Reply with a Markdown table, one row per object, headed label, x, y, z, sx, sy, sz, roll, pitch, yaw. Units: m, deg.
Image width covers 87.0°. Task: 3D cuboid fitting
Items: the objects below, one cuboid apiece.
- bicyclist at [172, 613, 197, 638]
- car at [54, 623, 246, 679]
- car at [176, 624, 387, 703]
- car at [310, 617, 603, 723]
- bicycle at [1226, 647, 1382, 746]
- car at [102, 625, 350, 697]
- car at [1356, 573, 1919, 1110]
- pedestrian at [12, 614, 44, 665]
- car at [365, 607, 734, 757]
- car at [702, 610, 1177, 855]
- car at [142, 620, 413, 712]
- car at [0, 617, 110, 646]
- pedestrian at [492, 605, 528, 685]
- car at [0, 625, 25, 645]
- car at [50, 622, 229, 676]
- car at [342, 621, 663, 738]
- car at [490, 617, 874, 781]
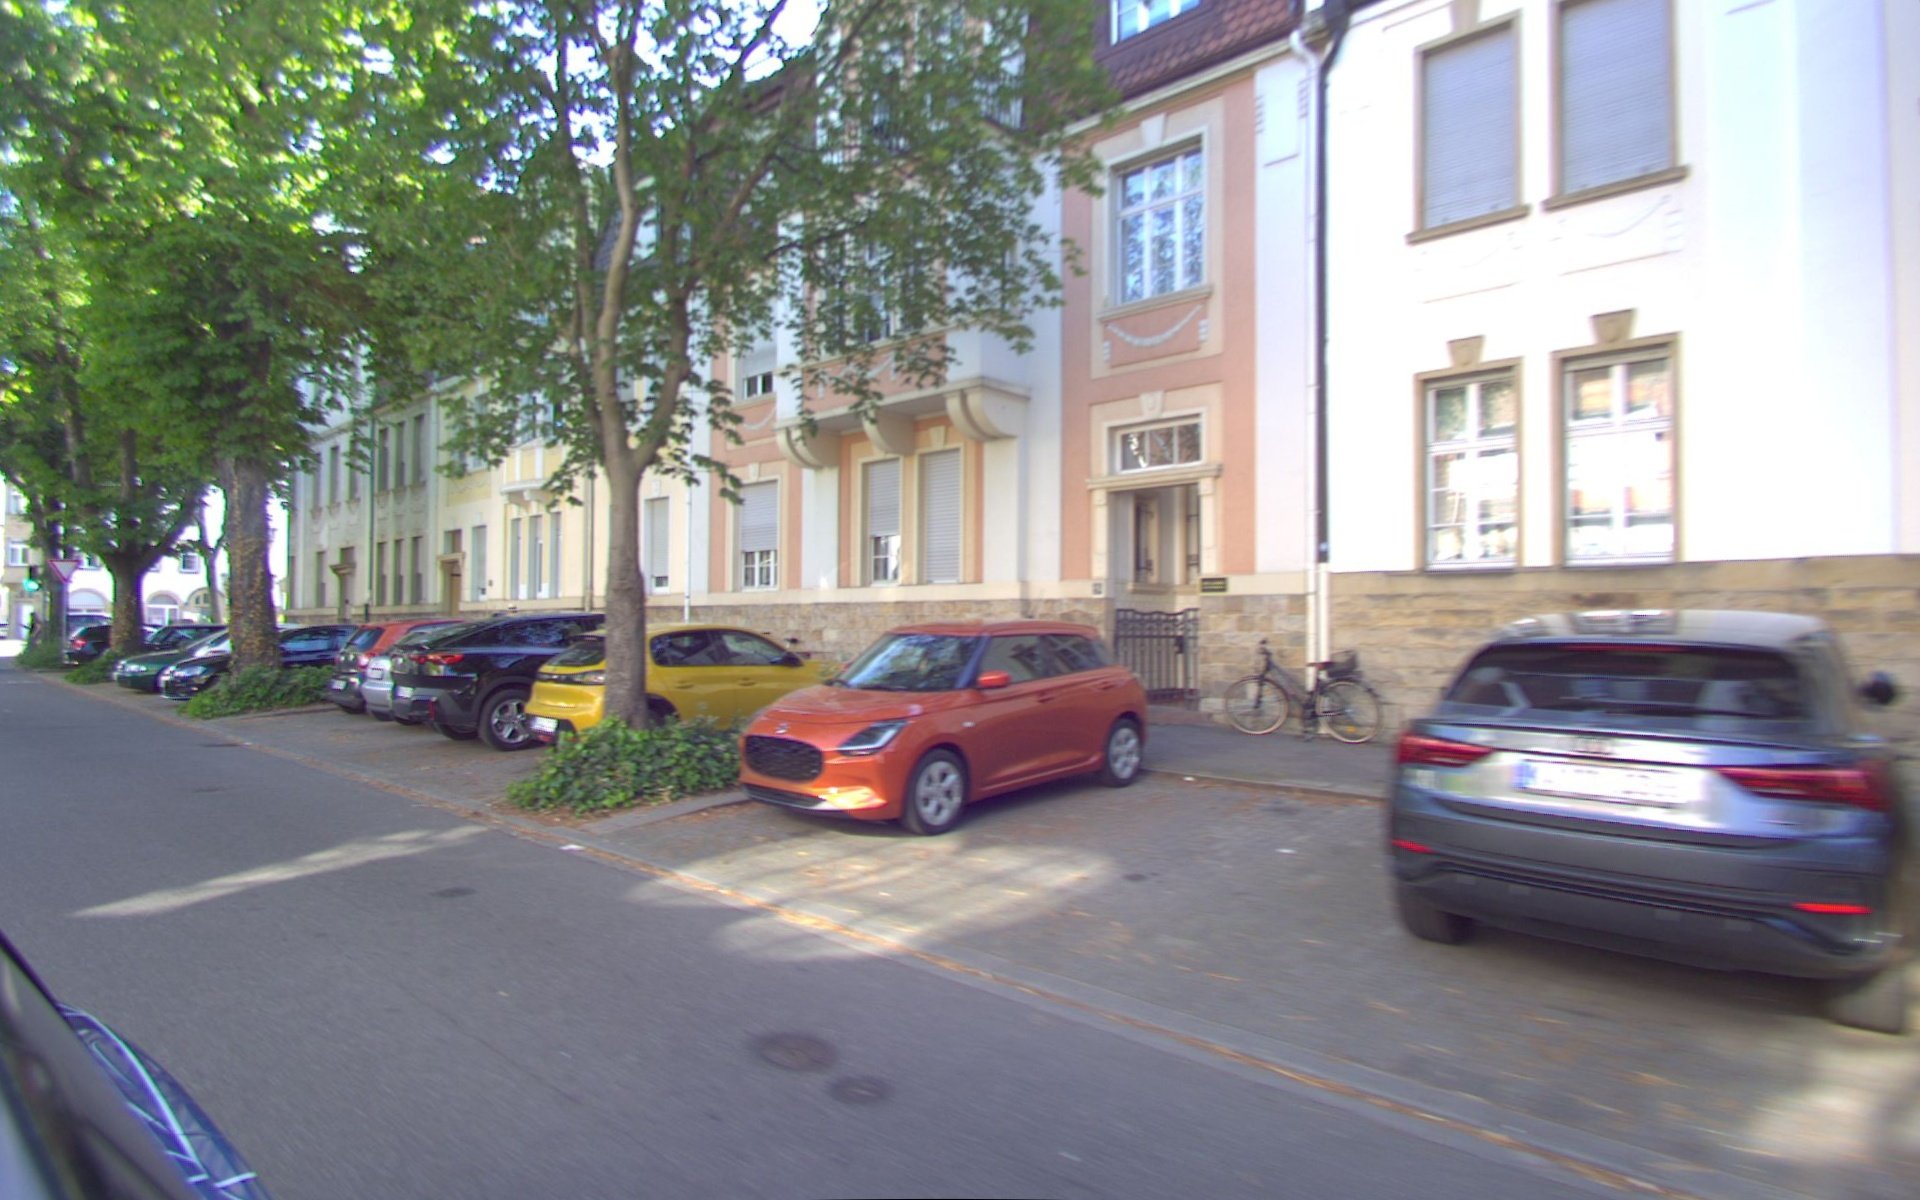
| label | x | y | z | sx | sy | sz | roll | pitch | yaw |
| --- | --- | --- | --- | --- | --- | --- | --- | --- | --- |
| bicyclist | -47.298 | 1.553 | 61.728 | 0.687 | 1.554 | 1.060 | -1 | -2 | 41 |
| car | -22.227 | 1.367 | 27.906 | 1.612 | 1.426 | 3.848 | -1 | -2 | 36 |
| car | -14.170 | 1.257 | 21.223 | 1.704 | 1.463 | 3.395 | 0 | -1 | 44 |
| car | -8.145 | 1.093 | 16.625 | 1.722 | 1.519 | 3.943 | -1 | -3 | 43 |
| bicycle | 3.738 | 1.022 | 11.053 | 1.496 | 0.939 | 0.619 | 0 | 1 | 41 |
| car | -16.058 | 1.272 | 22.314 | 1.703 | 1.359 | 4.167 | 0 | -1 | 41 |
| car | 3.617 | 0.737 | 5.006 | 1.858 | 1.604 | 3.945 | -1 | -1 | 41 |
| pedestrian | -31.136 | 1.322 | 33.833 | 0.684 | 1.695 | 0.681 | 1 | -2 | -37 |
| car | -5.076 | 0.893 | 12.865 | 1.863 | 1.578 | 3.943 | -1 | -1 | 43 |
| car | 0.039 | 0.851 | 8.405 | 1.747 | 1.526 | 3.945 | 0 | -1 | 42 |
| car | -12.701 | 1.148 | 19.005 | 1.785 | 1.493 | 3.943 | -1 | -1 | 43 |
| car | -43.549 | 1.513 | 48.342 | 1.861 | 1.364 | 4.165 | -1 | -2 | 36 |
| pedestrian | -9.634 | 0.947 | 21.642 | 0.454 | 1.671 | 0.896 | 1 | -2 | -40 |
| car | -86.500 | 3.164 | 91.816 | 1.887 | 1.671 | 4.357 | -3 | 0 | -35 |
| car | -24.036 | 1.423 | 29.753 | 1.615 | 1.487 | 3.841 | -1 | -3 | 41 |
| car | -6.627 | 1.048 | 14.935 | 1.830 | 1.414 | 3.943 | -1 | -1 | 43 |
| car | -2.976 | 0.941 | 11.338 | 1.863 | 1.473 | 3.748 | -1 | -1 | 43 |
